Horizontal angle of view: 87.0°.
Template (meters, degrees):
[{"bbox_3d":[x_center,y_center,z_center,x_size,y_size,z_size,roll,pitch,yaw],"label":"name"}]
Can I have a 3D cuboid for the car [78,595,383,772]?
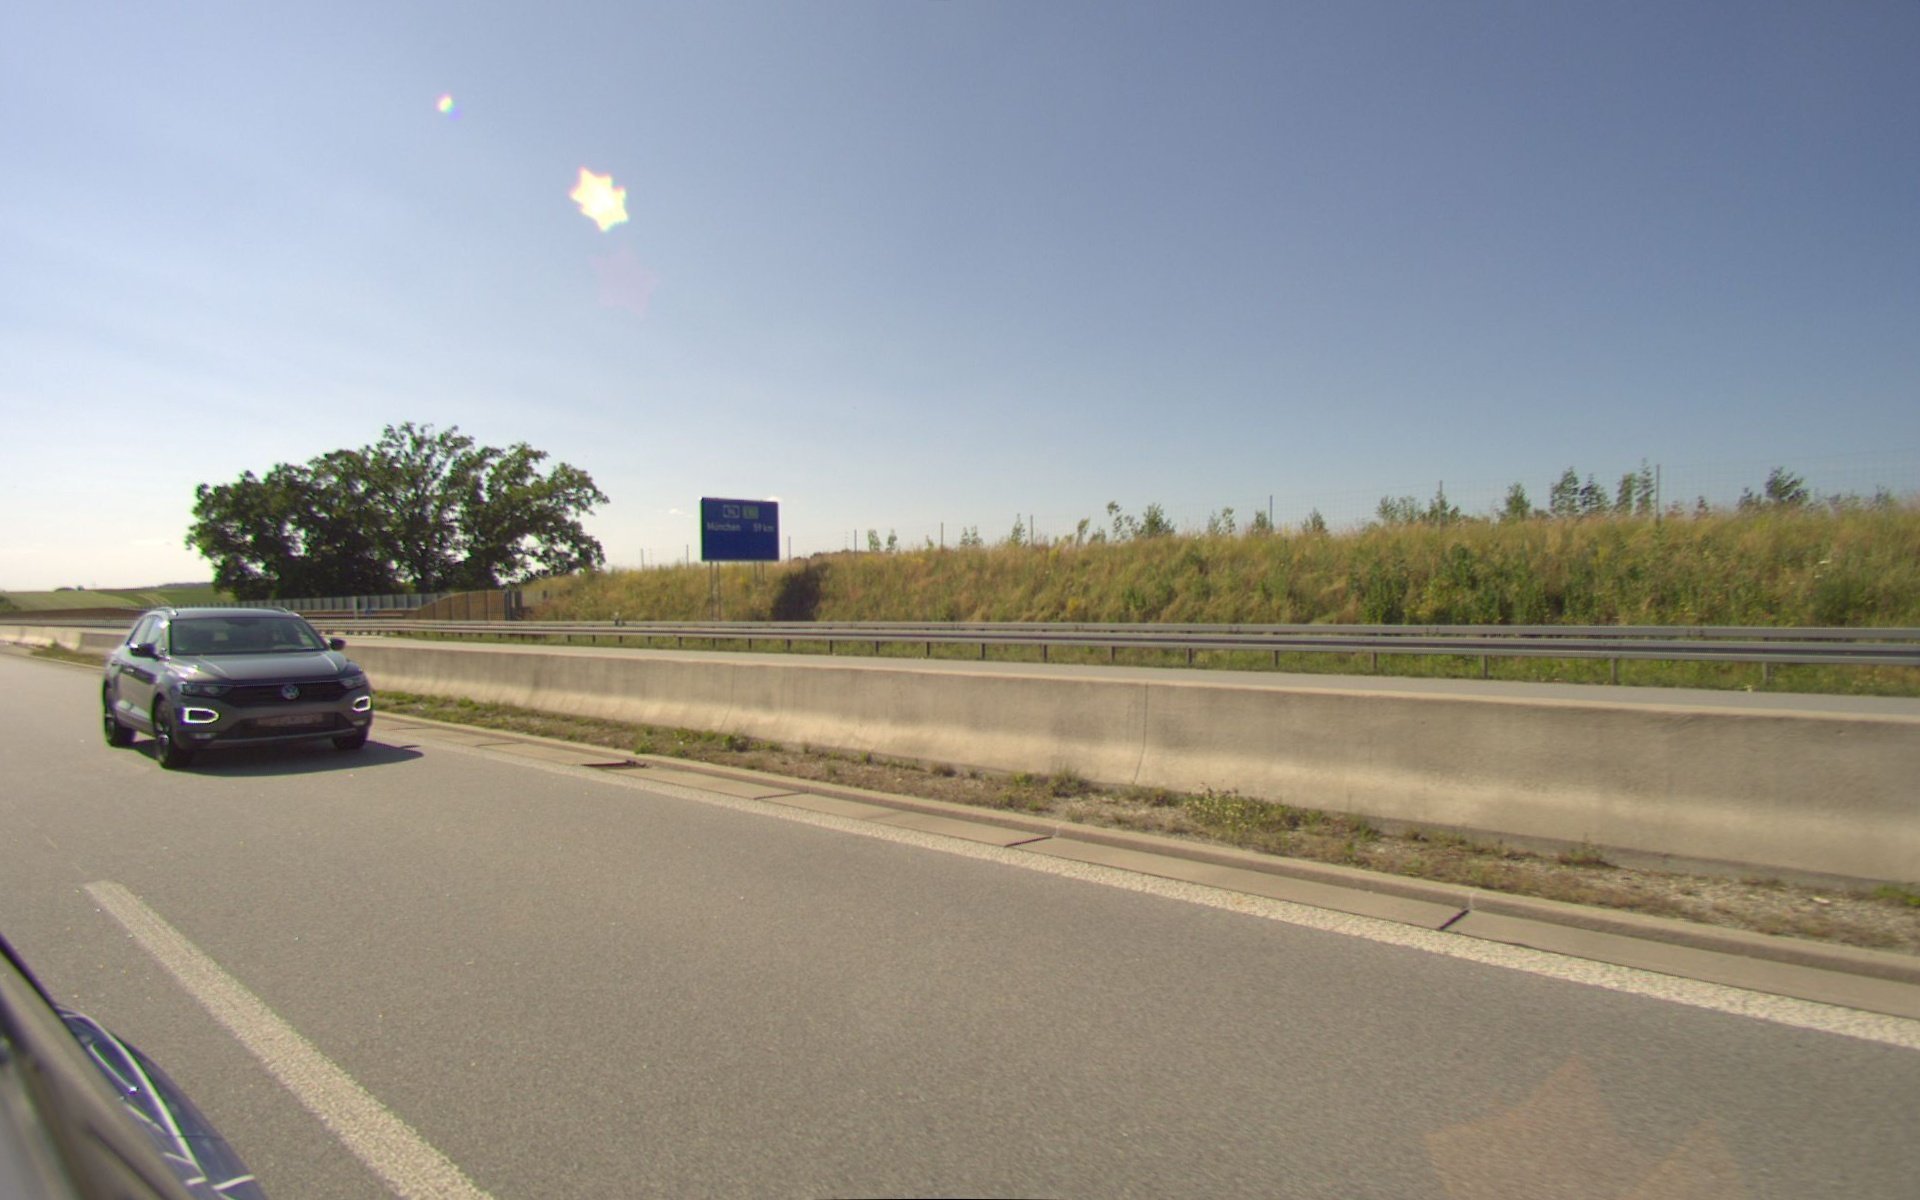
[{"bbox_3d":[-8.364,0.780,11.395,4.987,1.581,1.753,-1,0,42],"label":"car"}]
